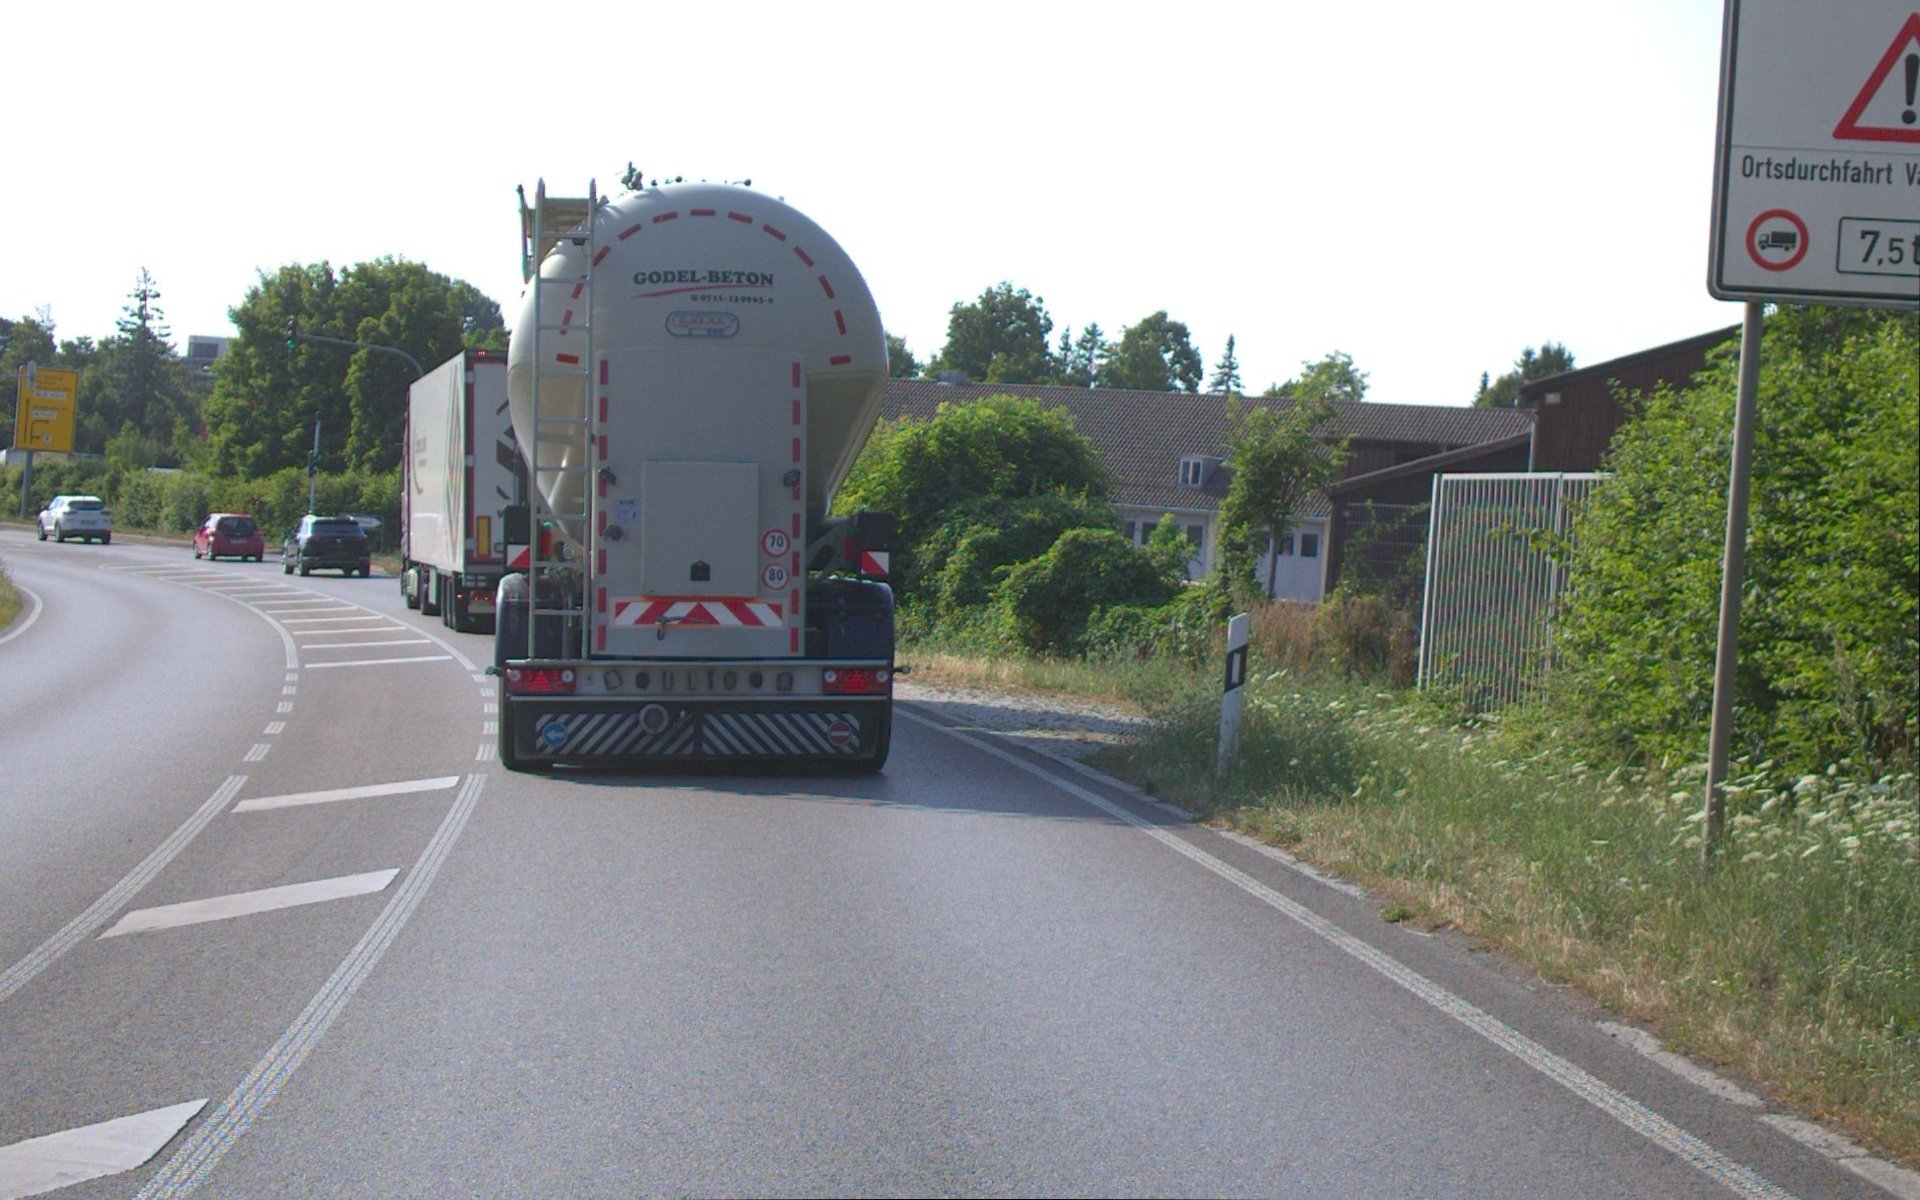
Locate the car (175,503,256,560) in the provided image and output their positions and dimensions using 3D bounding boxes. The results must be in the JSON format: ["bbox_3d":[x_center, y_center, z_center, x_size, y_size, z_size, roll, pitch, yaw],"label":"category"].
[{"bbox_3d":[-22.733,-2.064,104.892,2.299,1.650,4.416,1,0,-13],"label":"car"}]

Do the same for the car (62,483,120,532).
[{"bbox_3d":[-31.080,-3.277,122.852,1.840,1.650,4.001,1,0,-16],"label":"car"}]

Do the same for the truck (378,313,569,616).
[{"bbox_3d":[-8.305,-2.231,59.293,2.962,4.870,6.432,1,0,-7],"label":"truck"}]

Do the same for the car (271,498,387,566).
[{"bbox_3d":[-16.278,-1.748,88.520,1.993,1.650,4.001,1,0,-24],"label":"car"}]

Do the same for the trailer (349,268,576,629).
[{"bbox_3d":[-7.417,-2.116,52.280,2.963,4.865,10.290,1,0,-7],"label":"trailer"}]

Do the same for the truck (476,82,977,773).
[{"bbox_3d":[-2.072,-1.097,26.956,2.975,4.161,11.665,1,0,-6],"label":"truck"}]
